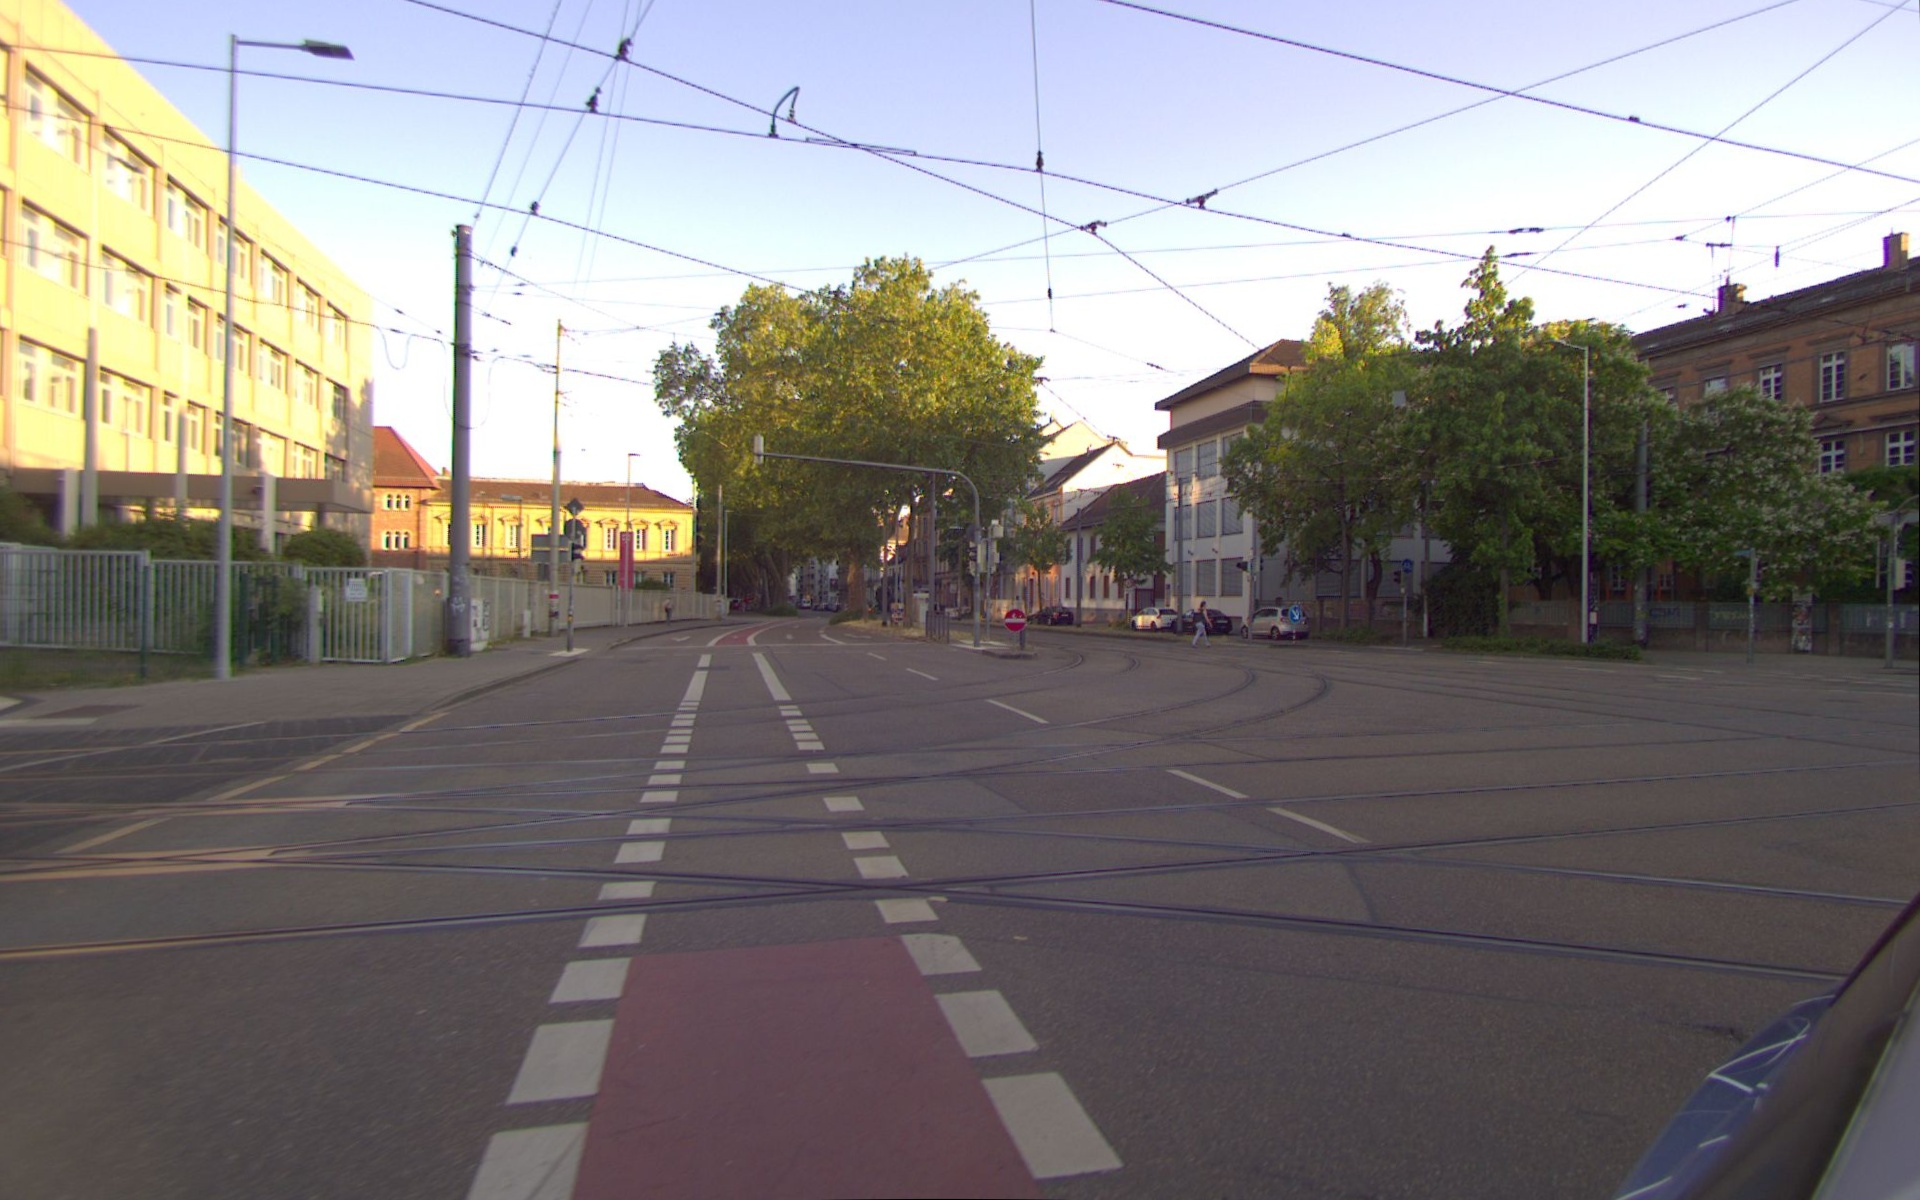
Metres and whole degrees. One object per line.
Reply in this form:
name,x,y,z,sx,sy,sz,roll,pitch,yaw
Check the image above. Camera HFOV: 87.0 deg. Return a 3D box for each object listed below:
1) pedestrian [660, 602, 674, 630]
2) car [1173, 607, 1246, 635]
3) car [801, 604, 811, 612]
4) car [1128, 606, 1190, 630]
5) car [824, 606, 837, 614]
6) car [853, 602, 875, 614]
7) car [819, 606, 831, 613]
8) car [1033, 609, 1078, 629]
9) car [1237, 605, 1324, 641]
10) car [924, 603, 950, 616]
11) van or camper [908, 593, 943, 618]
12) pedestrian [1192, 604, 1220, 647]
pedestrian,-17.240,0.955,59.504,0.668,1.653,0.567,0,-1,-7
car,13.584,1.103,55.348,1.958,1.442,4.368,0,0,-16
car,-36.691,1.844,241.033,1.958,1.924,4.748,0,0,-15
car,11.935,1.061,61.020,1.958,1.442,4.240,0,0,-16
car,-25.269,1.914,197.127,1.958,1.442,4.240,0,0,-15
car,-12.357,0.972,130.220,1.911,1.418,4.659,0,0,-16
car,-27.390,1.858,205.022,1.958,1.442,4.240,0,0,-15
car,7.248,1.432,76.992,1.958,1.442,4.240,0,0,-16
car,15.430,1.064,48.906,1.958,1.653,4.240,0,0,-16
car,-2.642,1.116,115.405,1.958,1.442,4.240,0,0,-16
van or camper,-4.247,0.667,123.186,2.446,3.008,7.194,0,0,-18
pedestrian,8.823,0.904,36.251,0.800,1.546,0.581,0,-1,-10
